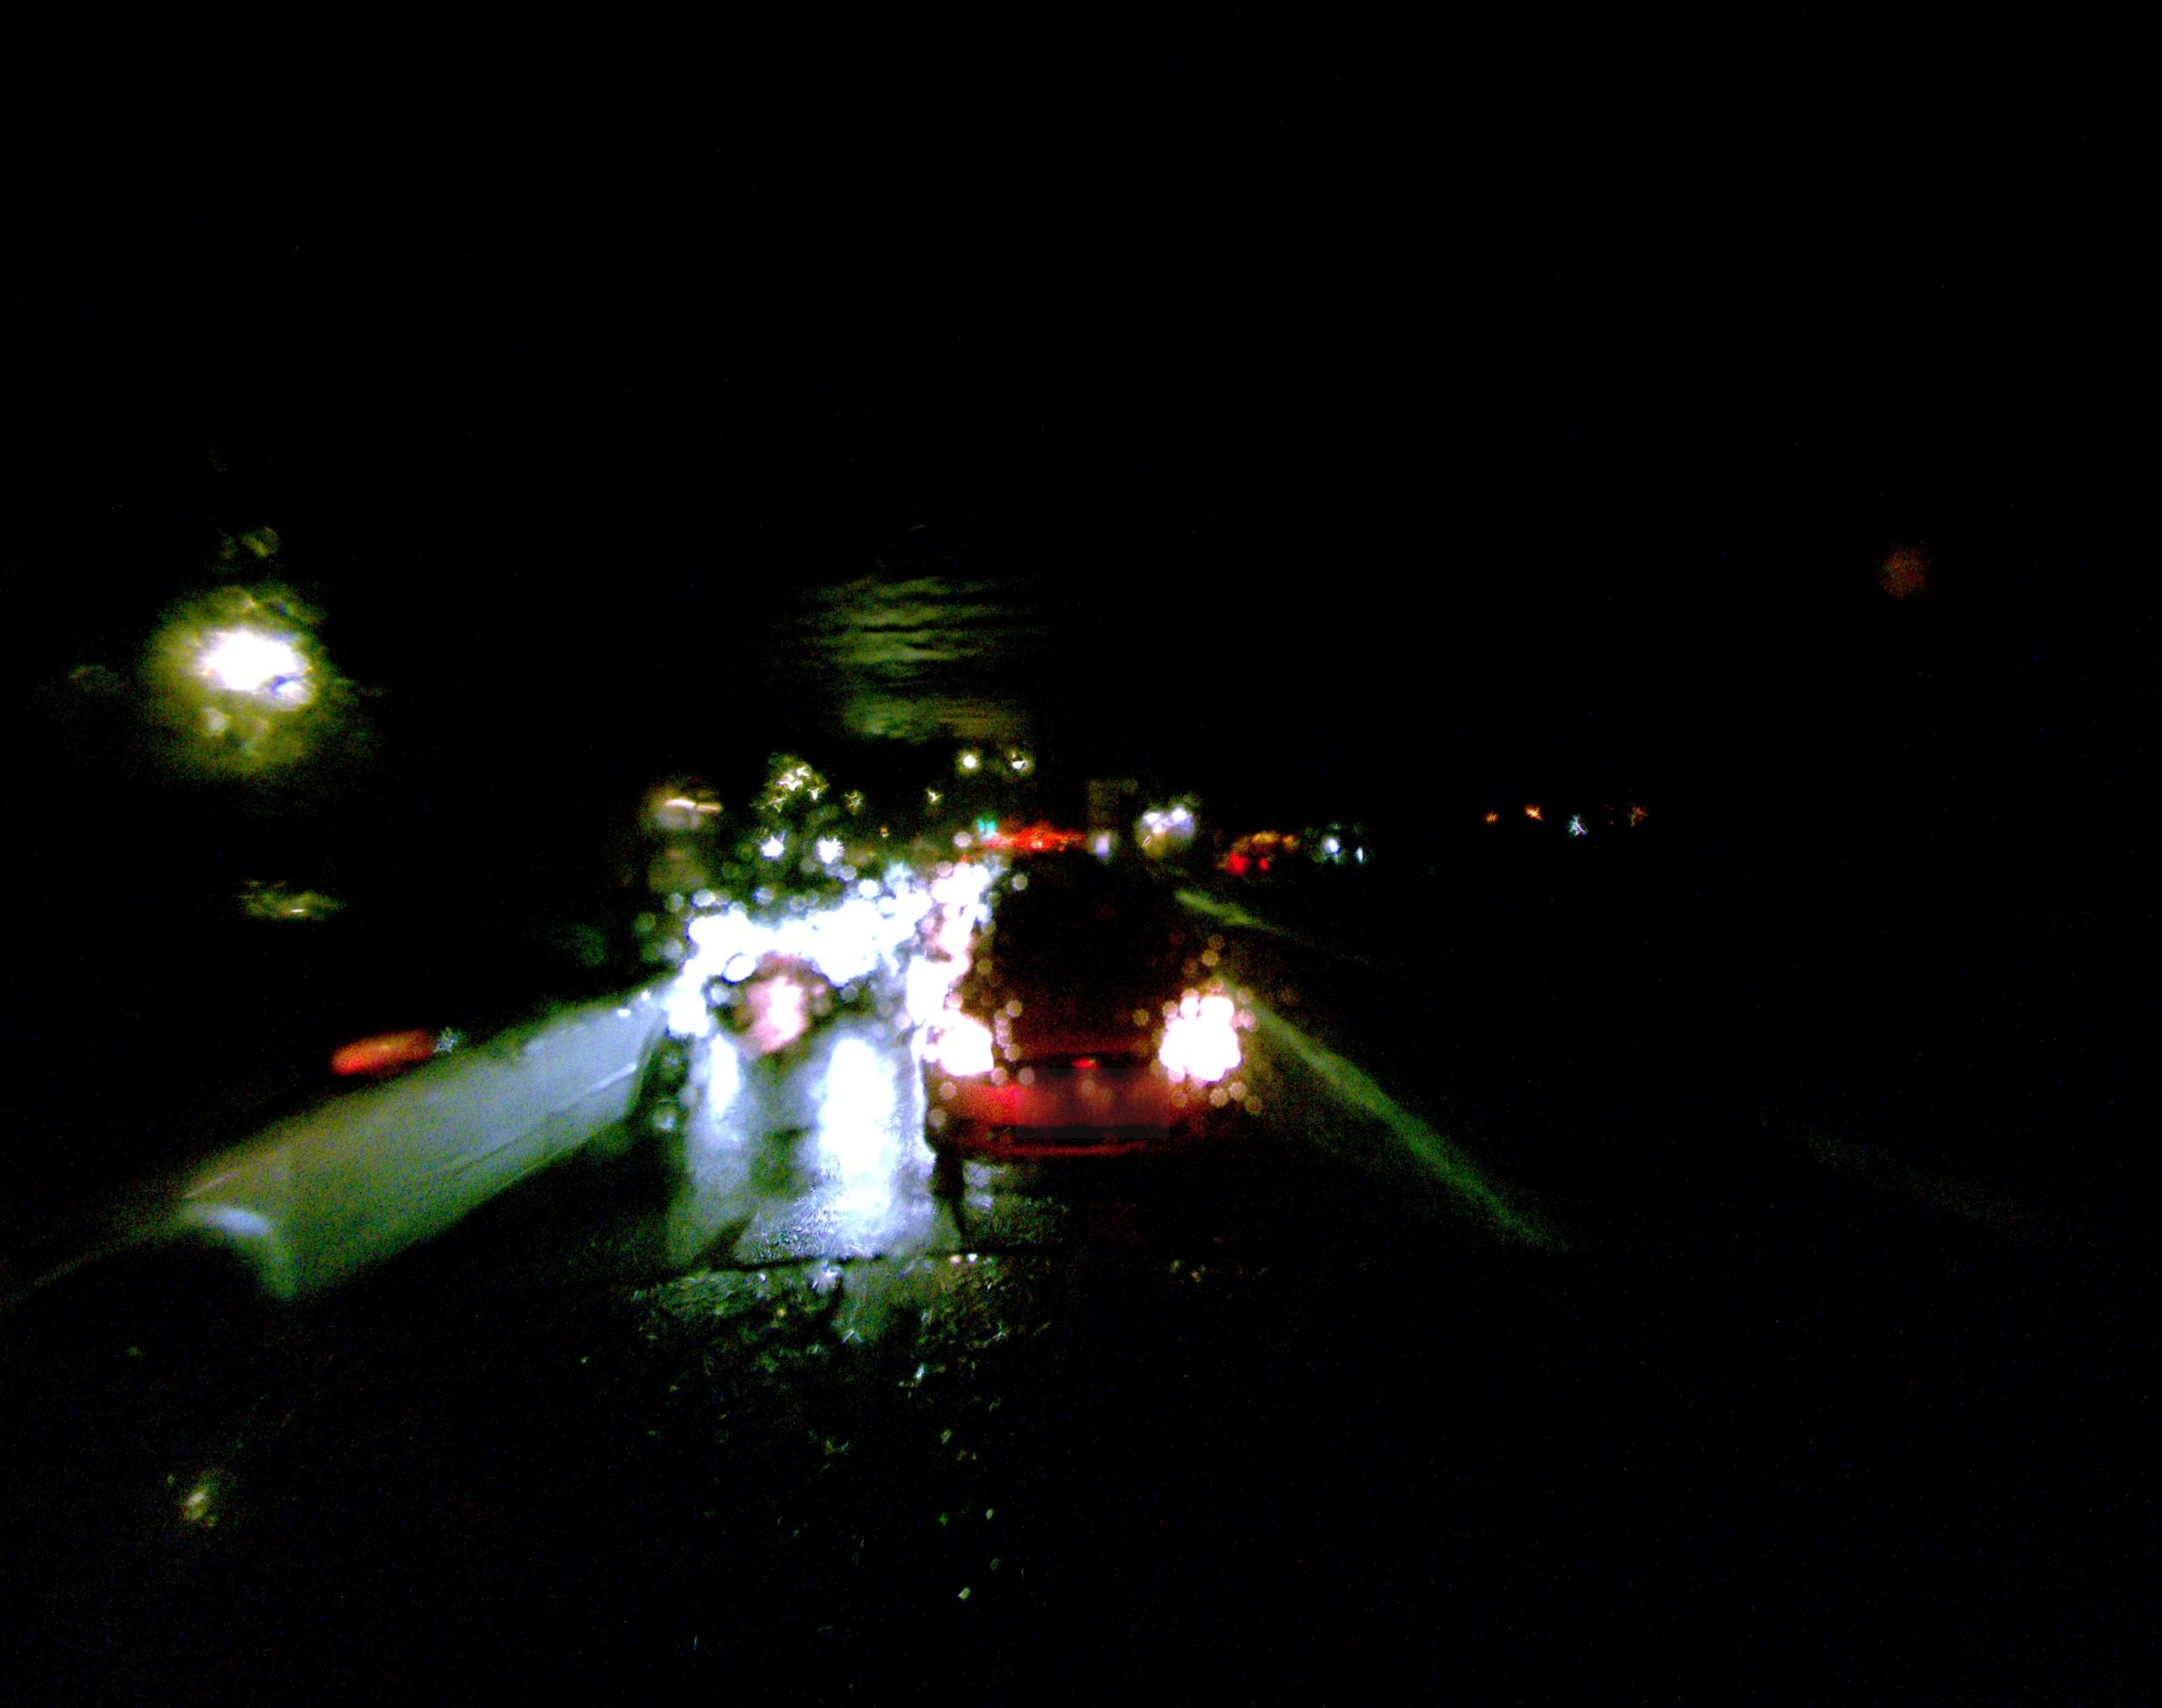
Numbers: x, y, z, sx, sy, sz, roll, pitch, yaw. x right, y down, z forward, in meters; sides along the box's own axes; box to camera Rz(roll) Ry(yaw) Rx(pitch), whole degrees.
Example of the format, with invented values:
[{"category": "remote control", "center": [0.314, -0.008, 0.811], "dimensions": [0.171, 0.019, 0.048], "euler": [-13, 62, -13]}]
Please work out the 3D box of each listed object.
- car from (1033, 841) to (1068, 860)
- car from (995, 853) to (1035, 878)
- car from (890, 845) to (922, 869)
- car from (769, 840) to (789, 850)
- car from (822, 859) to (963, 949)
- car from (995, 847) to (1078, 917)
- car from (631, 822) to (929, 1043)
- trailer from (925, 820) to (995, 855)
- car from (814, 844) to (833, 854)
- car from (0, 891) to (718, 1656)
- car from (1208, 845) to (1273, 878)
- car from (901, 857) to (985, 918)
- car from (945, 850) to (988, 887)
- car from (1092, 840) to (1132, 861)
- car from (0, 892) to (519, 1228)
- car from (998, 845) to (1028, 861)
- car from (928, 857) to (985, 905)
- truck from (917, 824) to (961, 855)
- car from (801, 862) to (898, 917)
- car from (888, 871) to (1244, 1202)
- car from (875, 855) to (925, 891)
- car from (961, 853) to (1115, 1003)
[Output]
[{"category": "car", "center": [-2.977, -0.287, 73.919], "dimensions": [1.912, 1.731, 4.389], "euler": [-3, 1, -23]}, {"category": "car", "center": [-4.215, 0.708, 47.886], "dimensions": [1.855, 1.476, 4.480], "euler": [-1, 0, -13]}, {"category": "car", "center": [-12.234, 0.174, 52.881], "dimensions": [1.855, 1.423, 4.494], "euler": [-2, 2, -16]}, {"category": "car", "center": [-54.661, -1.619, 137.638], "dimensions": [1.974, 1.731, 4.905], "euler": [-3, 1, -38]}, {"category": "car", "center": [-3.736, 0.935, 15.744], "dimensions": [1.869, 1.503, 3.766], "euler": [-2, 1, 1]}, {"category": "car", "center": [-1.106, 0.636, 19.706], "dimensions": [1.881, 1.534, 3.999], "euler": [-2, 1, -2]}, {"category": "car", "center": [-3.365, 0.741, 9.581], "dimensions": [1.999, 2.076, 4.347], "euler": [-2, 1, -1]}, {"category": "trailer", "center": [-16.507, -2.109, 102.288], "dimensions": [3.976, 4.152, 13.886], "euler": [-3, 1, -32]}, {"category": "car", "center": [-40.687, -0.840, 120.008], "dimensions": [1.885, 1.463, 3.990], "euler": [-3, 1, -35]}, {"category": "car", "center": [-3.182, 1.000, 2.683], "dimensions": [1.792, 1.359, 3.999], "euler": [-2, 2, 0]}, {"category": "car", "center": [7.966, 0.378, 38.244], "dimensions": [1.912, 1.578, 4.079], "euler": [1, -1, -8]}, {"category": "car", "center": [-3.916, 0.895, 22.176], "dimensions": [1.629, 1.494, 3.999], "euler": [-2, 1, 1]}, {"category": "car", "center": [-5.382, 0.650, 36.050], "dimensions": [1.743, 1.581, 3.997], "euler": [-2, 1, -6]}, {"category": "car", "center": [2.694, -0.274, 67.303], "dimensions": [1.861, 1.739, 4.498], "euler": [-3, 1, -20]}, {"category": "car", "center": [-6.310, 1.108, 5.135], "dimensions": [1.853, 1.476, 4.627], "euler": [-1, 0, -5]}, {"category": "car", "center": [-7.687, -0.113, 85.018], "dimensions": [1.973, 1.731, 4.909], "euler": [-3, 1, -22]}, {"category": "car", "center": [-4.378, 0.896, 27.204], "dimensions": [1.683, 1.463, 3.998], "euler": [-2, 1, -5]}, {"category": "truck", "center": [-20.231, -2.028, 108.124], "dimensions": [3.975, 4.152, 6.361], "euler": [-3, 1, -32]}, {"category": "car", "center": [-7.021, 1.020, 23.530], "dimensions": [1.853, 1.447, 4.500], "euler": [-1, 0, -4]}, {"category": "car", "center": [-0.042, 0.899, 5.511], "dimensions": [1.603, 1.360, 3.942], "euler": [-2, 1, 1]}, {"category": "car", "center": [-8.689, 0.862, 36.826], "dimensions": [1.854, 1.423, 4.497], "euler": [-2, 2, -7]}, {"category": "car", "center": [-0.462, 0.842, 10.622], "dimensions": [1.683, 1.591, 3.996], "euler": [-2, 1, 1]}]
